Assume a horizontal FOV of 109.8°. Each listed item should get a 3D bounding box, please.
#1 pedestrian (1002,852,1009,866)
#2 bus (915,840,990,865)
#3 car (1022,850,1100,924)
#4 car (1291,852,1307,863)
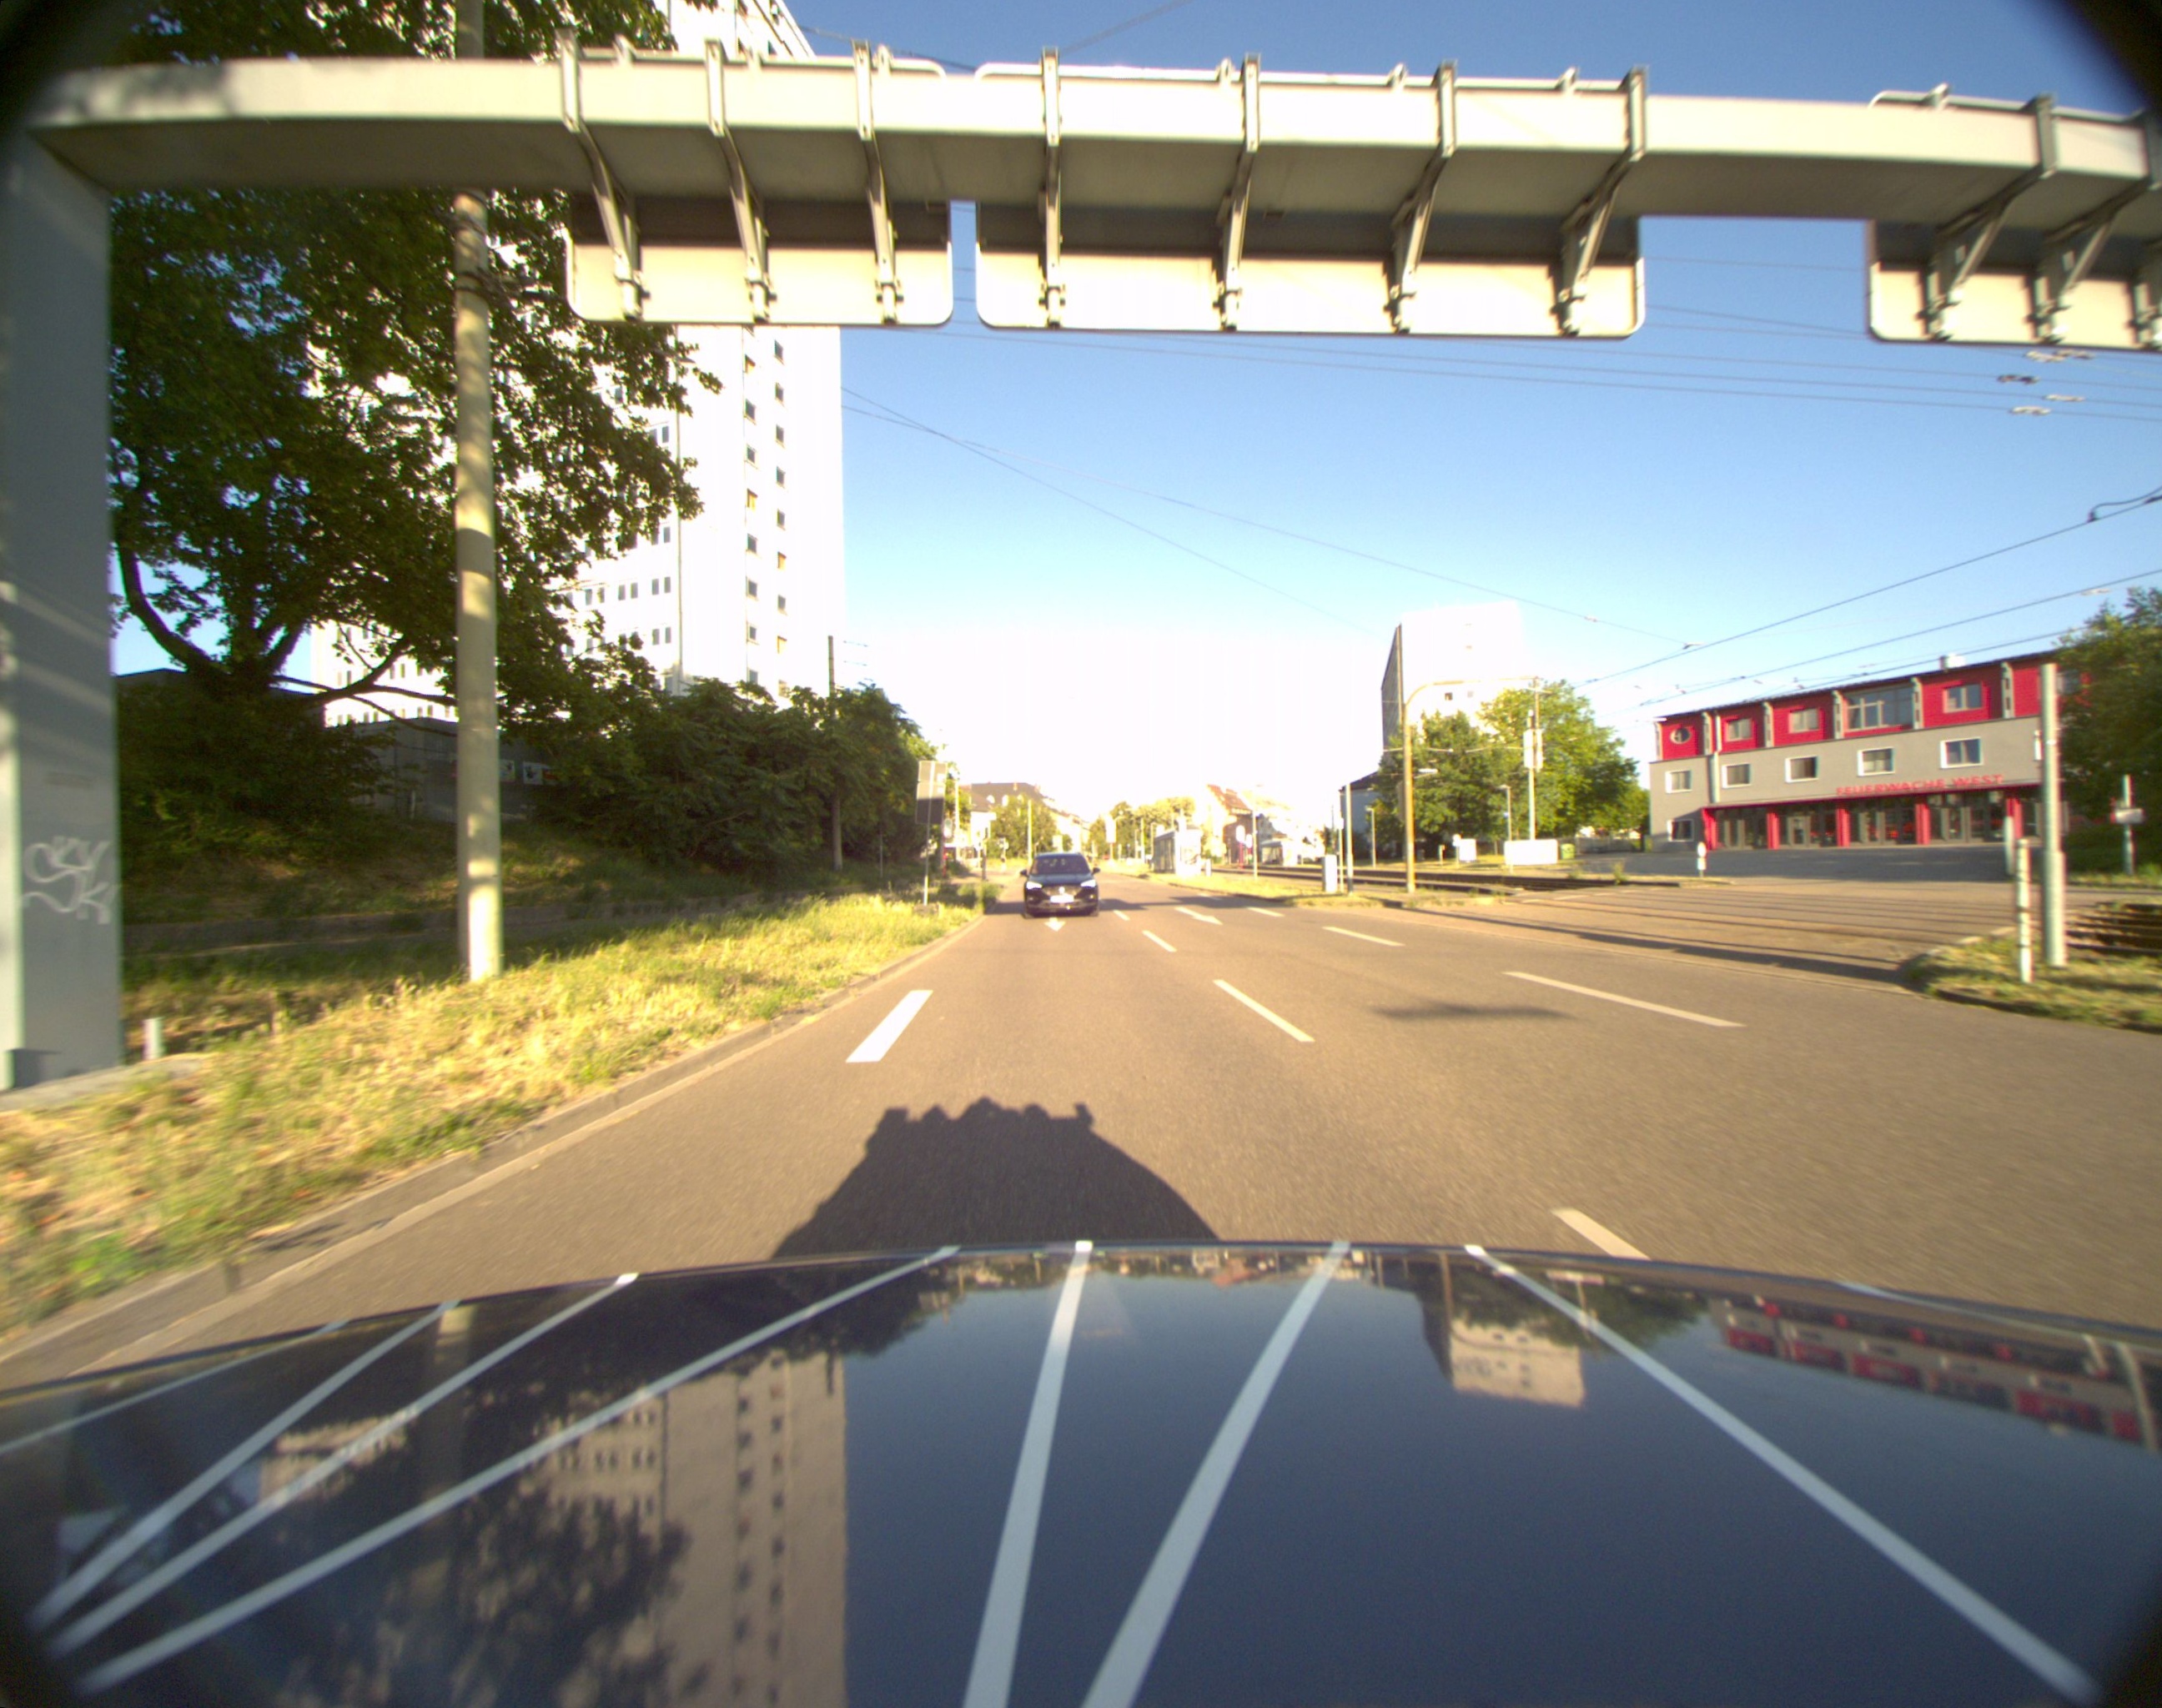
[{"bbox_3d":[-8.744,0.537,88.151,0.592,1.586,0.547,0,1,33],"label":"pedestrian"},{"bbox_3d":[-16.038,-0.206,95.280,8.873,3.007,2.607,-1,0,-31],"label":"bus"},{"bbox_3d":[-0.537,0.764,20.273,1.818,1.670,4.622,-1,1,-2],"label":"car"},{"bbox_3d":[32.665,0.512,113.961,1.739,1.539,4.440,-1,-1,10],"label":"car"}]
